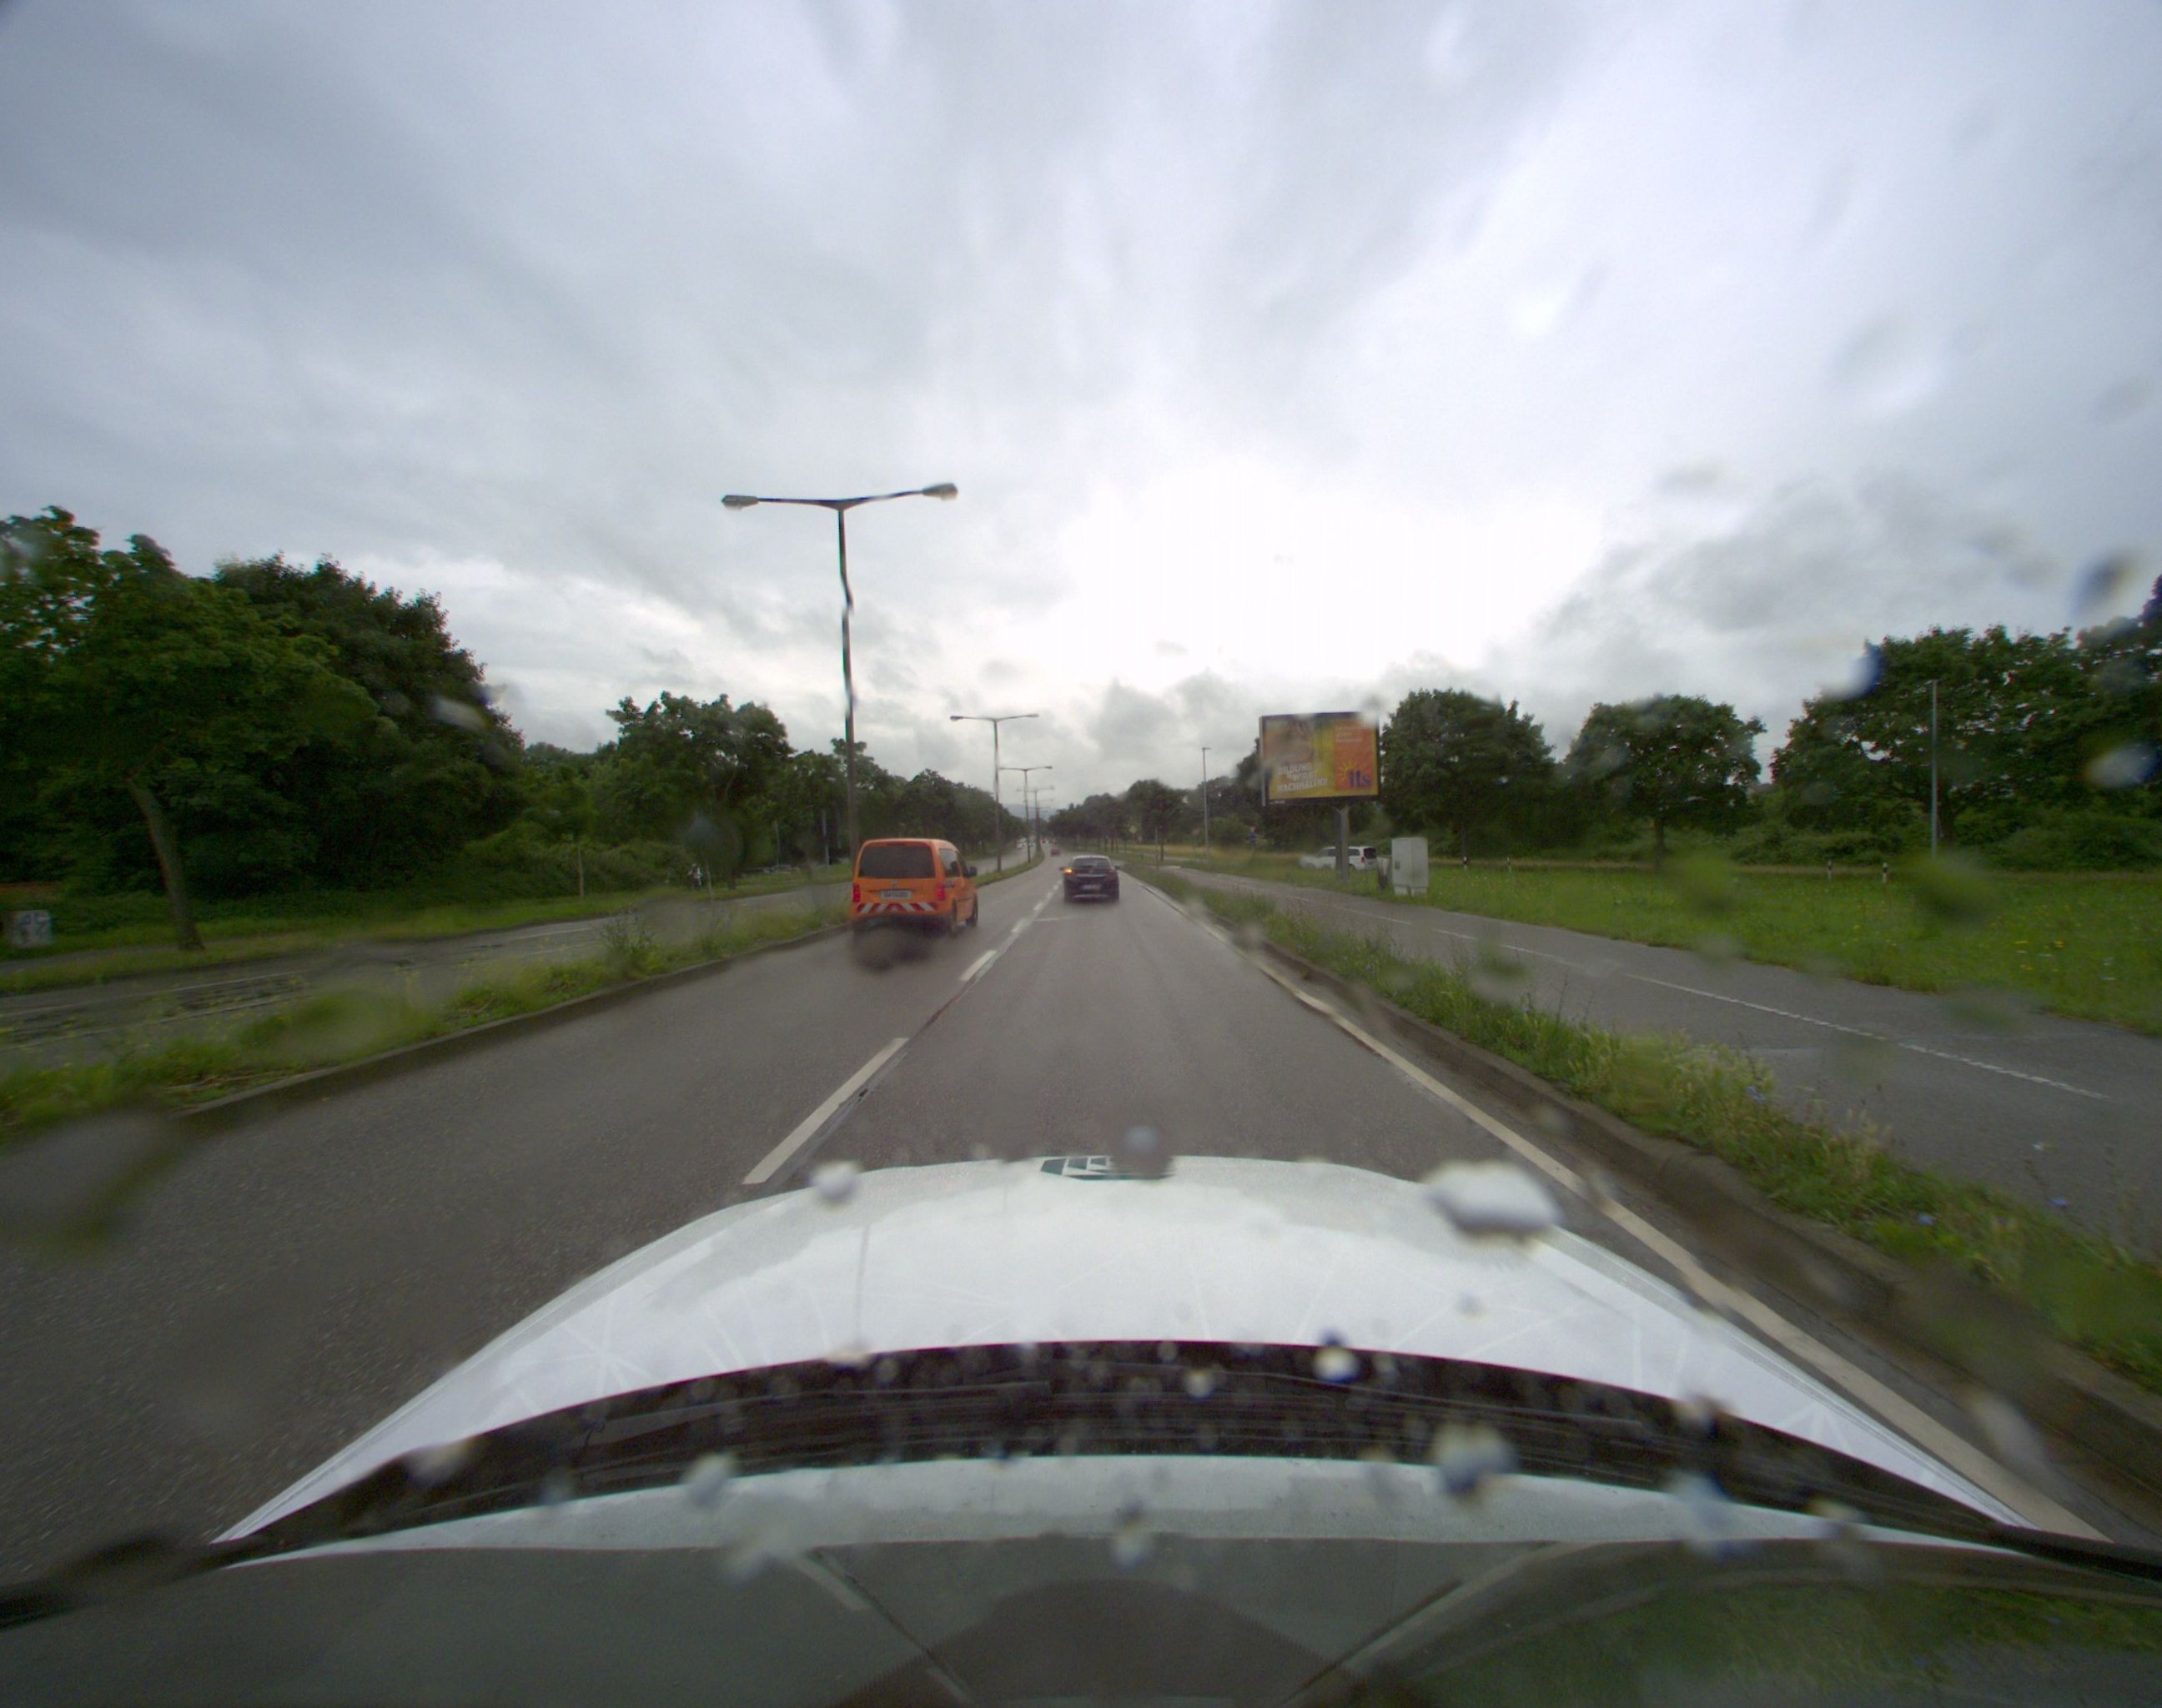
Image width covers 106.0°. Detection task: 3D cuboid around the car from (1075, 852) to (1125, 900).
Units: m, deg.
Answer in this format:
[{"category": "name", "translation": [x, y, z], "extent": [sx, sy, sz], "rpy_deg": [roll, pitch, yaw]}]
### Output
[{"category": "car", "translation": [0.592, 0.656, 26.037], "extent": [1.458, 1.328, 3.758], "rpy_deg": [-1, 1, 1]}]

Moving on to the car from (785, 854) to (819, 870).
[{"category": "car", "translation": [-38.118, 1.082, 111.459], "extent": [3.983, 2.013, 1.995], "rpy_deg": [-2, 1, -7]}]

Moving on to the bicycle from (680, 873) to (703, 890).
[{"category": "bicycle", "translation": [-22.124, 1.575, 46.276], "extent": [0.520, 0.886, 1.634], "rpy_deg": [-1, 0, 1]}]

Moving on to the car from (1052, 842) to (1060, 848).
[{"category": "car", "translation": [-7.939, -2.865, 258.898], "extent": [2.510, 2.052, 5.288], "rpy_deg": [-2, 0, -3]}]

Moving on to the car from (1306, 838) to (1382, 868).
[{"category": "car", "translation": [17.895, -0.093, 55.629], "extent": [2.076, 1.974, 4.555], "rpy_deg": [-1, 0, -39]}]

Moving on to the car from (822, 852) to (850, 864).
[{"category": "car", "translation": [-38.690, 0.631, 128.691], "extent": [3.983, 1.640, 1.907], "rpy_deg": [-2, 1, -7]}]

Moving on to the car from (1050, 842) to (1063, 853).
[{"category": "car", "translation": [-4.234, -1.070, 141.891], "extent": [1.986, 1.879, 4.001], "rpy_deg": [-1, 0, 1]}]

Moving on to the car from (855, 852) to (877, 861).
[{"category": "car", "translation": [-41.236, 0.487, 156.348], "extent": [3.832, 1.452, 1.521], "rpy_deg": [-2, 1, -7]}]

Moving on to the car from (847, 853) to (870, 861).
[{"category": "car", "translation": [-40.667, 0.546, 148.734], "extent": [3.730, 1.426, 1.485], "rpy_deg": [-2, 1, -7]}]

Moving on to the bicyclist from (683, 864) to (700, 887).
[{"category": "bicyclist", "translation": [-22.127, 1.204, 46.280], "extent": [0.520, 1.302, 0.808], "rpy_deg": [-1, 0, 1]}]

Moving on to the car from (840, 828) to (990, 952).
[{"category": "car", "translation": [-2.989, 0.575, 15.763], "extent": [1.728, 2.019, 4.851], "rpy_deg": [-1, 0, 2]}]

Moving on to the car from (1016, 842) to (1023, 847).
[{"category": "car", "translation": [-17.958, -2.832, 237.812], "extent": [1.677, 1.554, 4.000], "rpy_deg": [-1, 0, 0]}]
